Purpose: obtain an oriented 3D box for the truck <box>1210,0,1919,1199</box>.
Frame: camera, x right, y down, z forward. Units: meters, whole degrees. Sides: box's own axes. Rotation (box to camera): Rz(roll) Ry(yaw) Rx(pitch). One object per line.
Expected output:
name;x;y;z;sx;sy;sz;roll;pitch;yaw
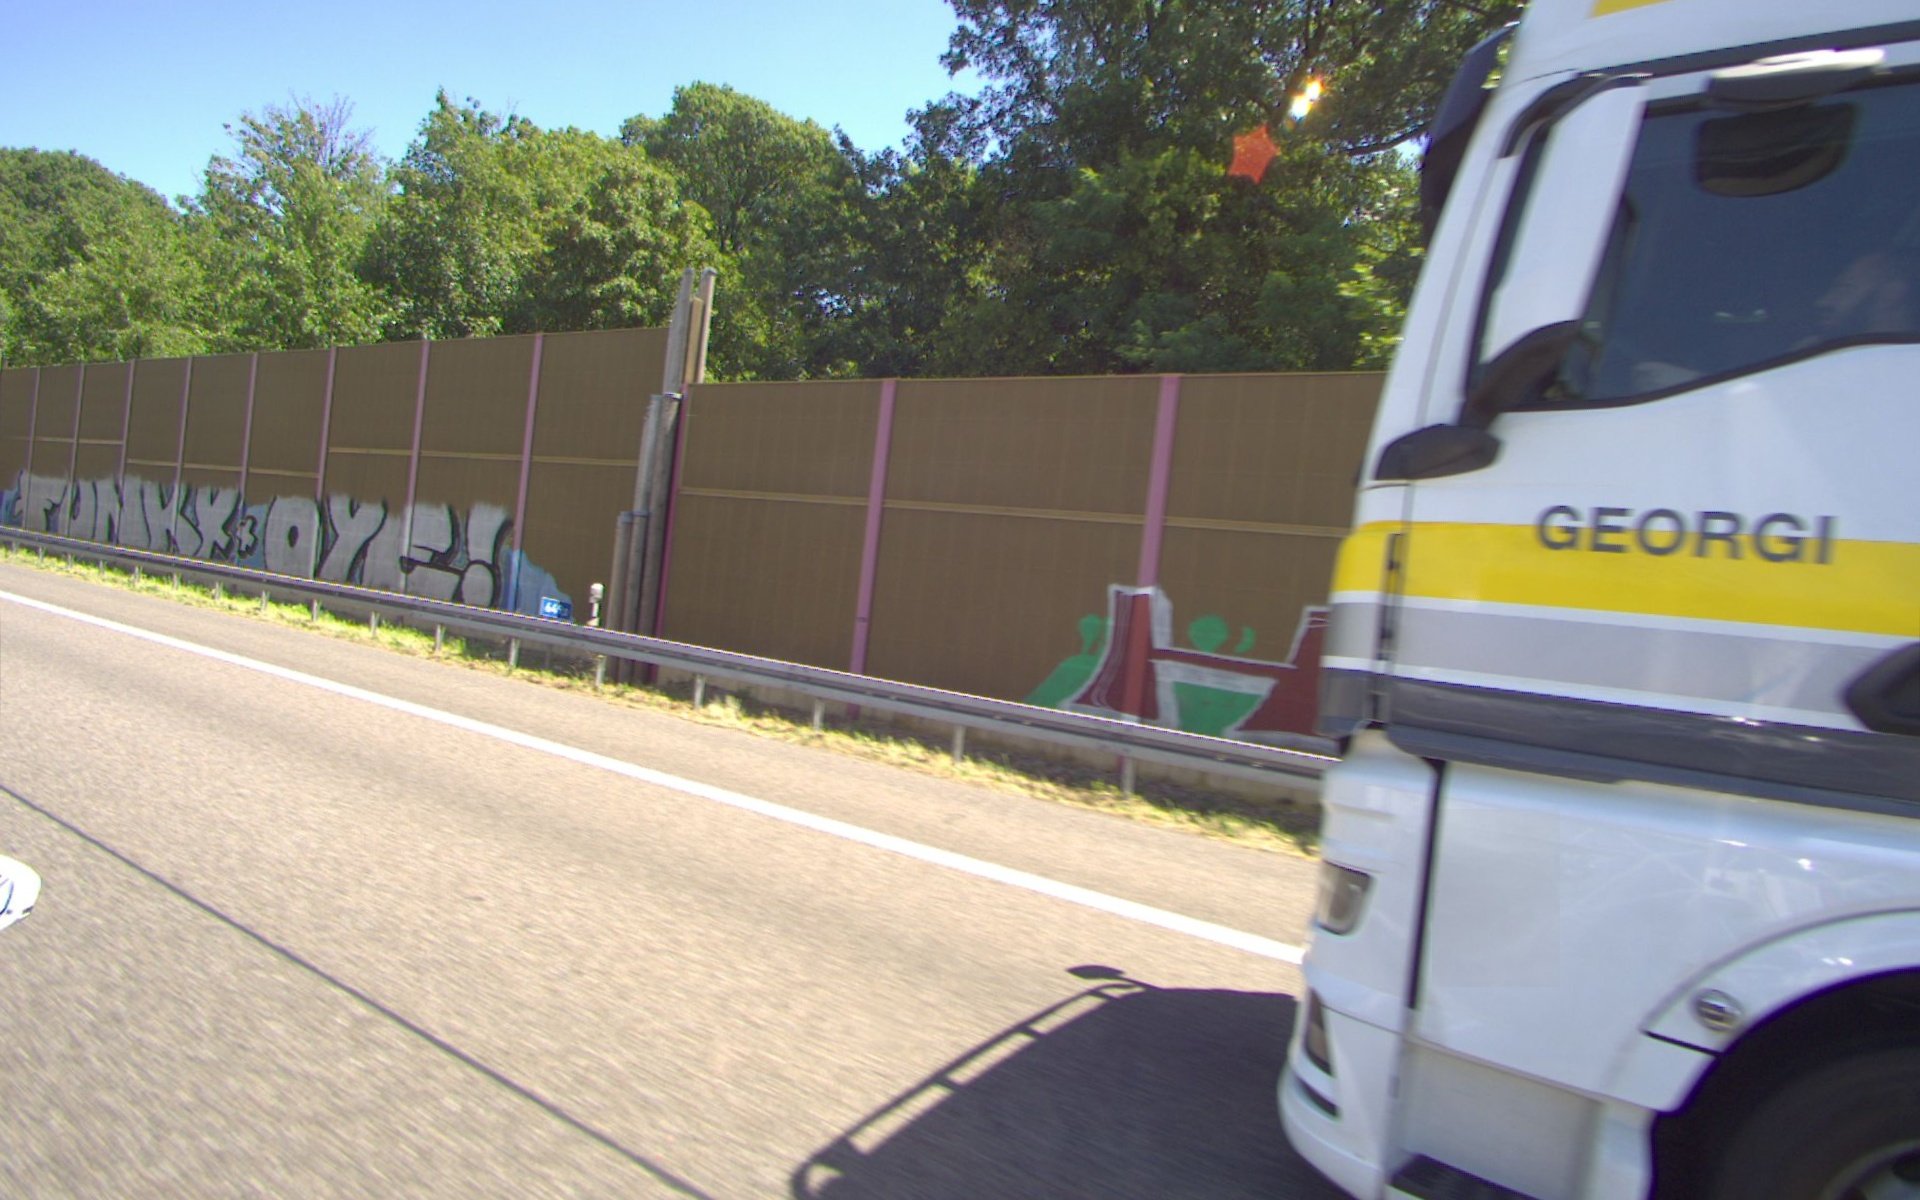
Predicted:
truck;3.781;-0.081;2.410;5.166;4.174;3.007;6;-1;32
